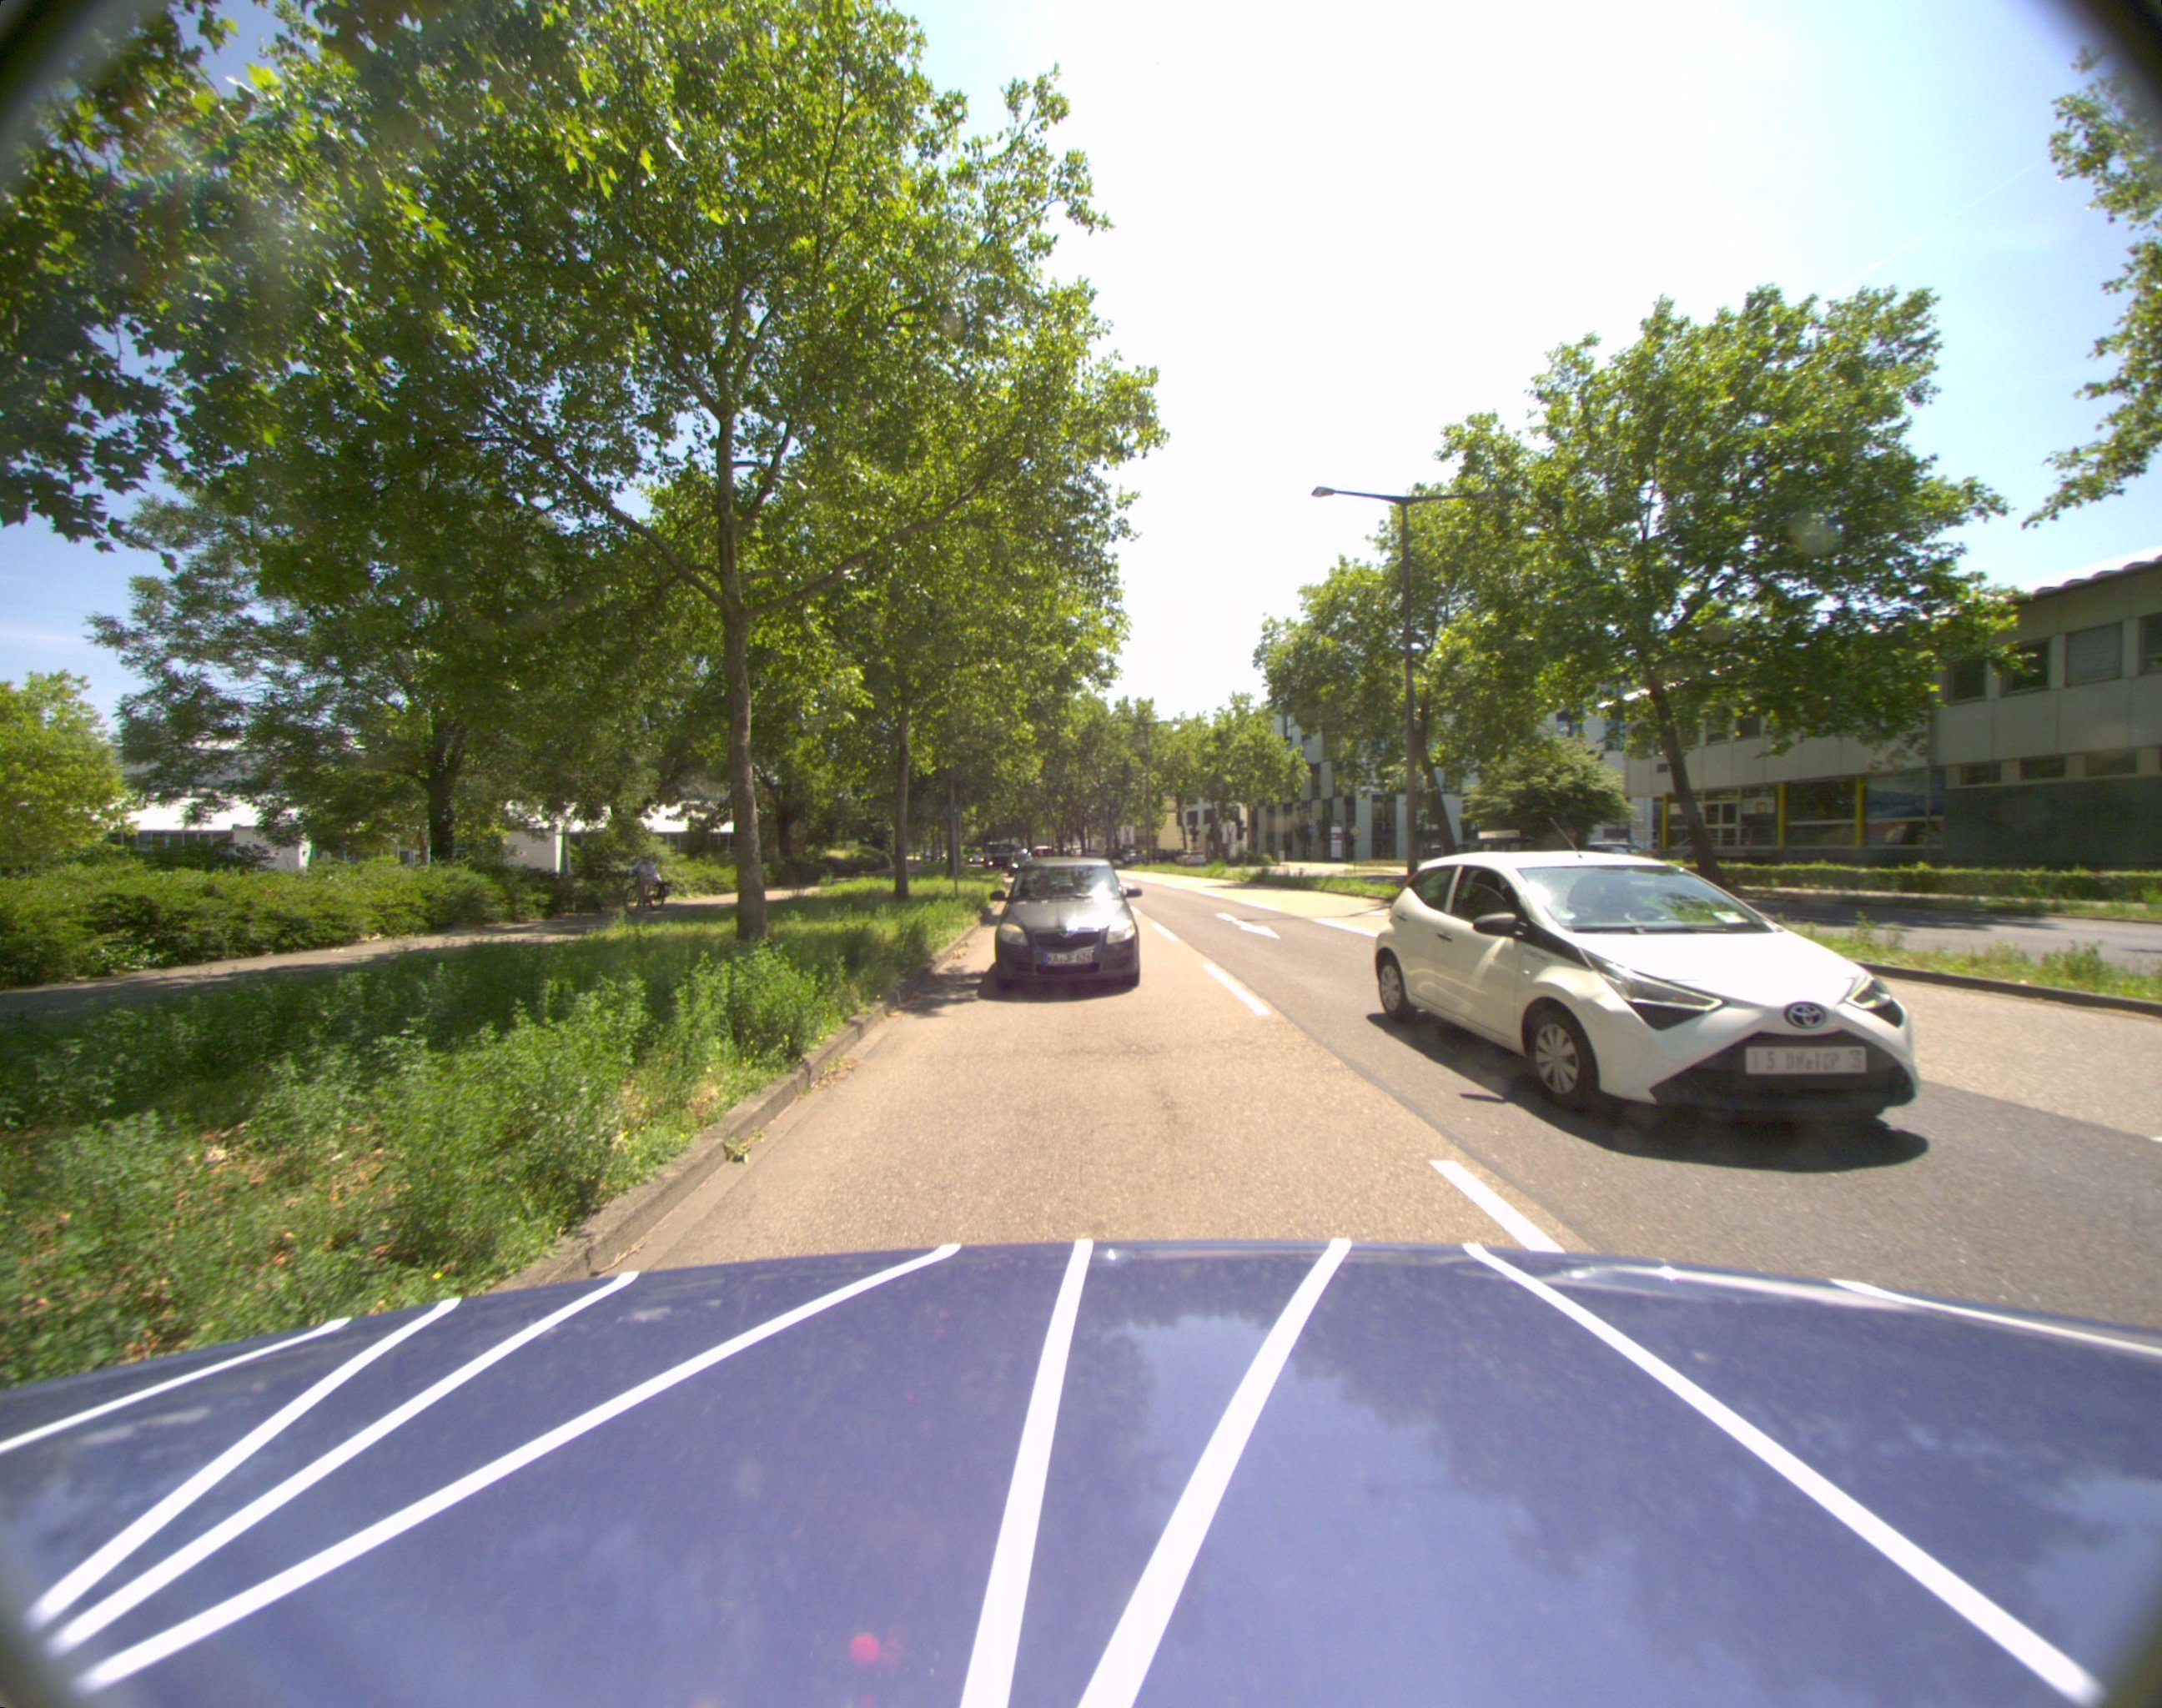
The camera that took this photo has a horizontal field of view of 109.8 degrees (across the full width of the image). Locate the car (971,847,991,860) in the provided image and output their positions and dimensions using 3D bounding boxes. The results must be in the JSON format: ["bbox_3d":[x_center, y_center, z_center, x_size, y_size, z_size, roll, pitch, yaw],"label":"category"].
[{"bbox_3d":[-12.789,-0.085,96.634,2.001,1.608,3.994,0,1,-15],"label":"car"}]

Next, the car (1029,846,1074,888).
[{"bbox_3d":[-1.428,0.559,35.913,1.999,1.871,3.998,-1,0,-4],"label":"car"}]

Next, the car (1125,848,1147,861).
[{"bbox_3d":[6.339,0.010,88.267,1.737,1.451,3.670,0,0,-8],"label":"car"}]

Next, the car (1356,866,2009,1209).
[{"bbox_3d":[3.408,0.866,5.285,1.623,1.437,3.651,-1,1,-1],"label":"car"}]

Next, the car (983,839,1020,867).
[{"bbox_3d":[-7.913,-0.115,74.960,2.921,2.639,6.358,-1,1,-12],"label":"car"}]

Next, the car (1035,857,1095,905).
[{"bbox_3d":[-0.557,0.854,26.070,1.878,1.448,3.785,-1,1,-2],"label":"car"}]

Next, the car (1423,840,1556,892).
[{"bbox_3d":[14.345,0.374,27.011,1.917,1.669,4.440,-1,0,-7],"label":"car"}]

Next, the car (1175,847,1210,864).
[{"bbox_3d":[9.997,0.116,68.369,1.859,1.410,4.543,0,0,-10],"label":"car"}]

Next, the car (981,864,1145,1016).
[{"bbox_3d":[-0.237,0.906,9.731,1.654,1.454,3.864,-1,0,-2],"label":"car"}]

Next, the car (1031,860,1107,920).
[{"bbox_3d":[-0.336,0.867,20.001,1.791,1.325,3.742,-1,1,-2],"label":"car"}]

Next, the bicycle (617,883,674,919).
[{"bbox_3d":[-10.870,1.159,19.028,0.465,0.760,1.668,0,1,-1],"label":"bicycle"}]

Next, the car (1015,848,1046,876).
[{"bbox_3d":[-3.354,0.496,50.886,1.999,1.783,3.998,0,1,-4],"label":"car"}]

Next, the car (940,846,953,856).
[{"bbox_3d":[-24.918,-0.577,140.894,2.001,1.827,3.994,0,1,-15],"label":"car"}]

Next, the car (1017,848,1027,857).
[{"bbox_3d":[-10.545,-0.247,134.807,1.537,1.519,2.852,0,1,-9],"label":"car"}]

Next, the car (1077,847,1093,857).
[{"bbox_3d":[0.546,-0.306,112.620,1.757,1.435,3.668,0,1,-11],"label":"car"}]

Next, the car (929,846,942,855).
[{"bbox_3d":[-29.419,-0.676,153.586,2.002,1.827,3.992,-1,1,-22],"label":"car"}]

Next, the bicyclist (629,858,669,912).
[{"bbox_3d":[-10.865,0.768,19.119,0.600,1.331,0.666,0,1,-1],"label":"bicyclist"}]

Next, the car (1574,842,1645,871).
[{"bbox_3d":[31.355,0.118,45.226,1.820,1.638,3.527,-2,1,1],"label":"car"}]

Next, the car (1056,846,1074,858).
[{"bbox_3d":[-2.321,-0.325,108.671,1.956,1.646,4.617,0,1,-8],"label":"car"}]
